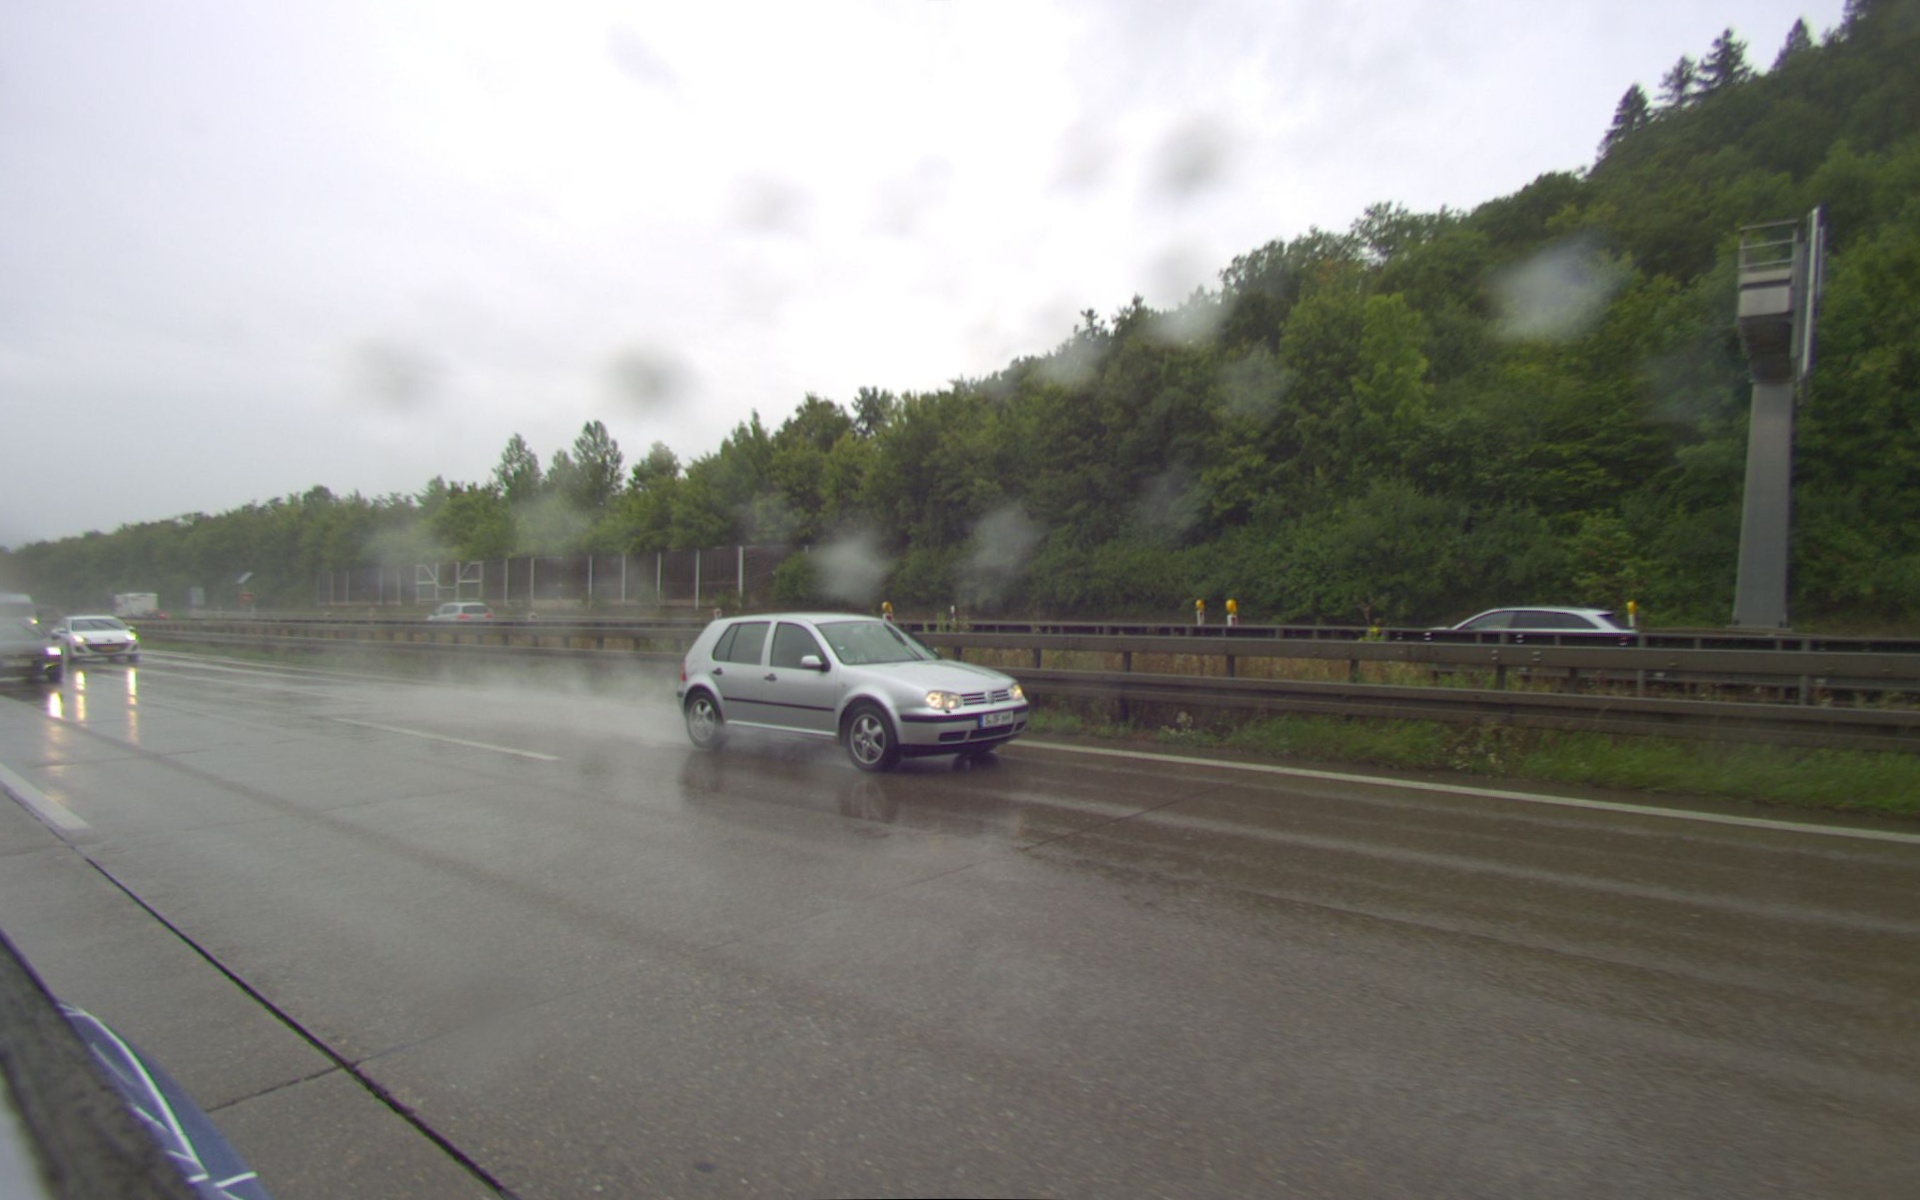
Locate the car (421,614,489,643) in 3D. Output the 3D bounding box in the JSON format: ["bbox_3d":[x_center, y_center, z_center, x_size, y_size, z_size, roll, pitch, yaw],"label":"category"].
[{"bbox_3d":[-27.047,1.504,54.144,4.515,1.445,1.650,-1,0,41],"label":"car"}]

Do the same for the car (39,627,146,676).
[{"bbox_3d":[-28.340,1.633,33.014,4.514,1.445,1.910,-1,-1,40],"label":"car"}]

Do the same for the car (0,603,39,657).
[{"bbox_3d":[-49.836,1.521,52.590,6.398,2.651,2.020,-1,-1,40],"label":"car"}]

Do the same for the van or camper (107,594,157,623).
[{"bbox_3d":[-81.114,0.816,99.126,7.494,2.738,2.530,-1,0,41],"label":"van or camper"}]

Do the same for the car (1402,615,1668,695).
[{"bbox_3d":[11.681,1.052,20.759,4.515,1.445,1.650,-1,0,41],"label":"car"}]

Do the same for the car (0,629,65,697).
[{"bbox_3d":[-22.572,1.417,23.629,4.515,1.445,1.909,-1,-1,41],"label":"car"}]

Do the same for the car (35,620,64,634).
[{"bbox_3d":[-100.677,2.978,111.890,4.339,1.313,1.735,-1,2,39],"label":"car"}]

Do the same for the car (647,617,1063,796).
[{"bbox_3d":[-1.220,0.917,10.334,4.345,1.445,1.651,-1,-1,39],"label":"car"}]
